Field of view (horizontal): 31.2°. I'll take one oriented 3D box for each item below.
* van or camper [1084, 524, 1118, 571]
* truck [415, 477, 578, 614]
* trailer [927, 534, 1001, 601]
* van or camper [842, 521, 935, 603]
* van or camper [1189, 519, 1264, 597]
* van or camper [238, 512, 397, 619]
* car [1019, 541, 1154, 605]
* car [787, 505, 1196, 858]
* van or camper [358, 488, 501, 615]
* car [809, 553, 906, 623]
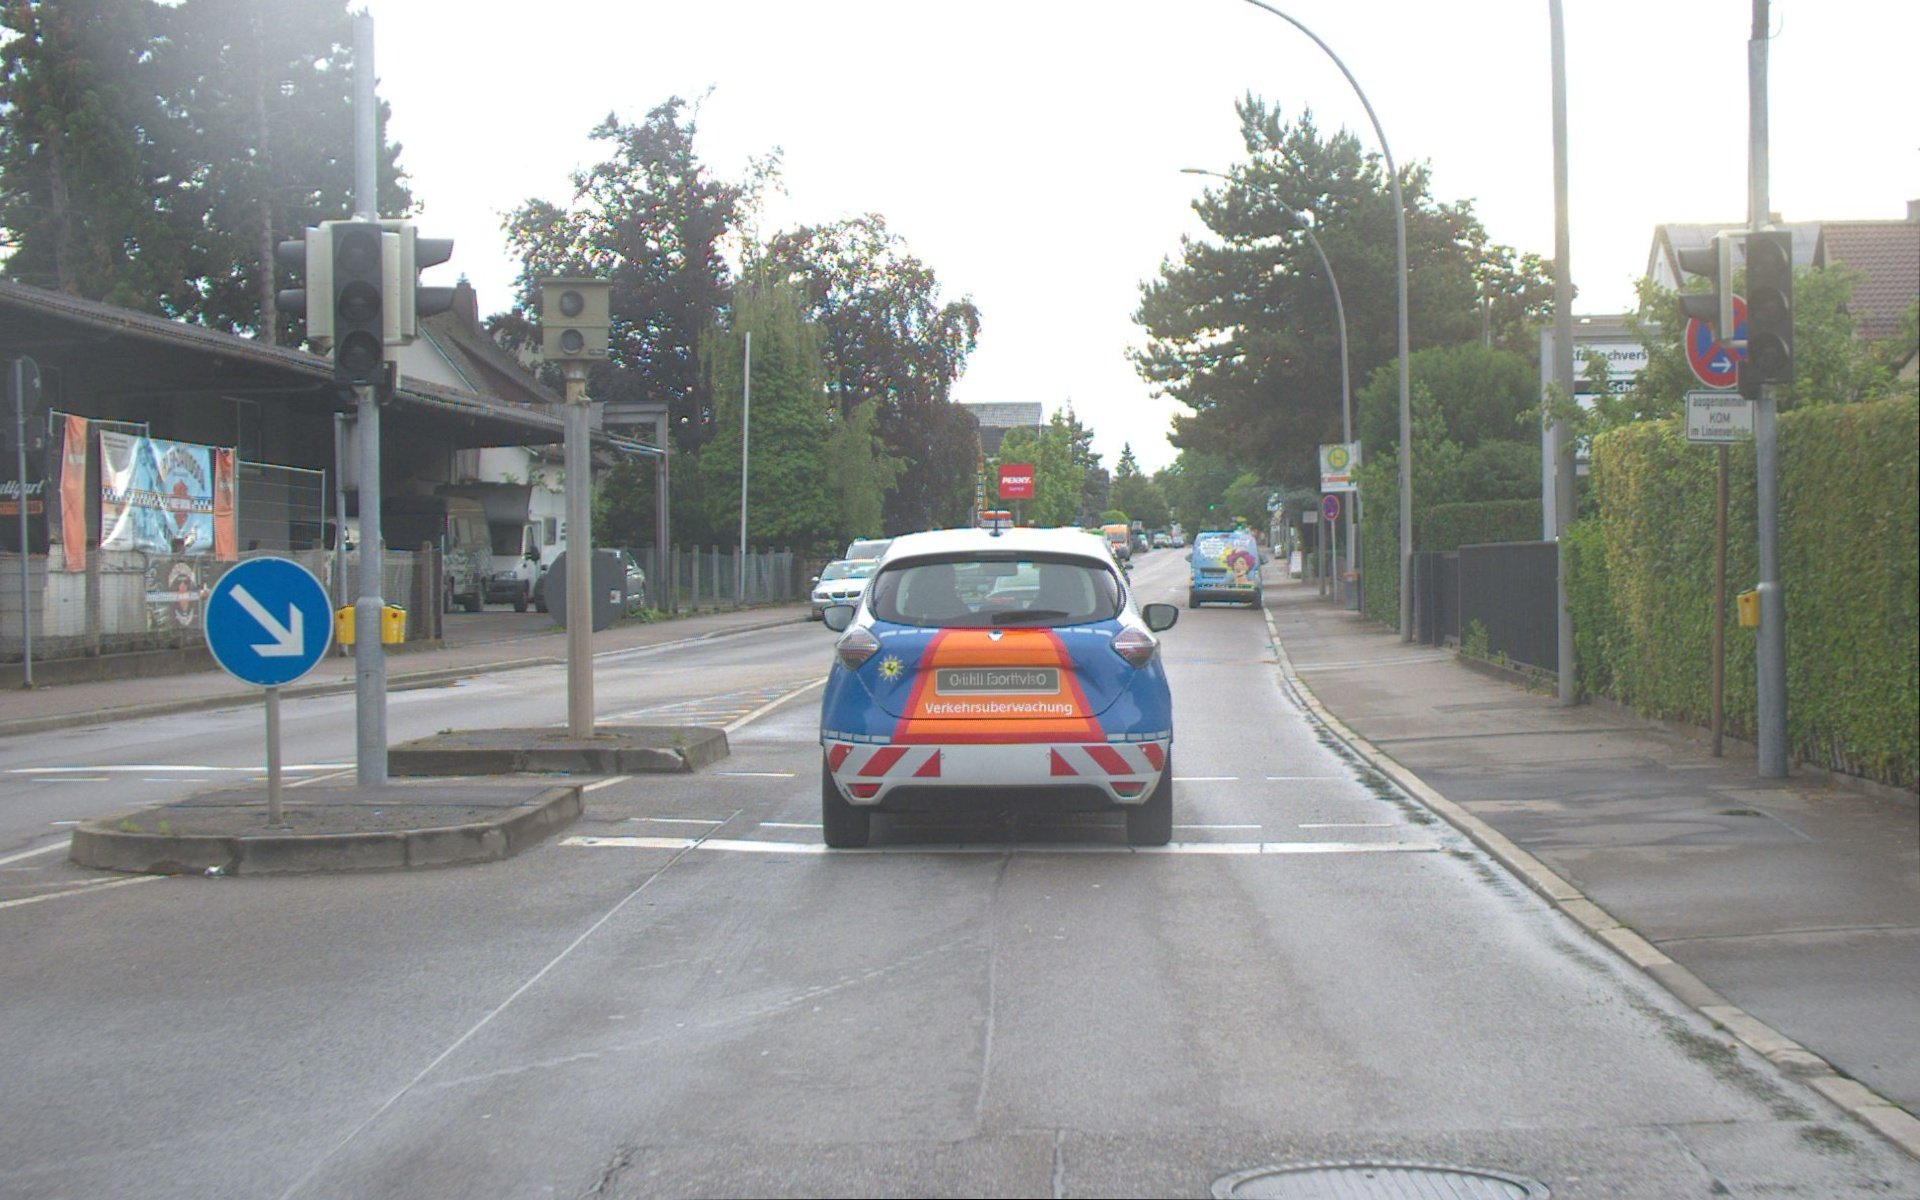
[{"bbox_3d":[8.585,-3.207,208.998,1.994,2.765,5.440,-1,1,3],"label":"van or camper"},{"bbox_3d":[-10.460,-1.176,78.138,2.395,2.917,5.956,2,0,4],"label":"truck"},{"bbox_3d":[0.155,-1.059,114.310,2.220,2.007,4.436,2,-1,3],"label":"trailer"},{"bbox_3d":[-1.780,-0.976,87.457,1.891,2.007,5.097,-1,1,4],"label":"van or camper"},{"bbox_3d":[6.590,-1.047,85.215,1.754,1.876,4.000,-1,1,3],"label":"van or camper"},{"bbox_3d":[-12.214,-0.649,65.630,1.994,1.902,4.471,2,0,2],"label":"van or camper"},{"bbox_3d":[2.916,-0.644,80.058,1.993,1.415,4.001,-1,1,-16],"label":"car"},{"bbox_3d":[0.196,0.345,18.065,1.888,1.626,4.000,-1,1,1],"label":"car"},{"bbox_3d":[-11.124,-0.978,72.451,1.859,2.429,5.233,2,-1,3],"label":"van or camper"},{"bbox_3d":[-2.376,-0.257,80.810,1.743,1.475,4.182,-2,-1,5],"label":"car"}]
